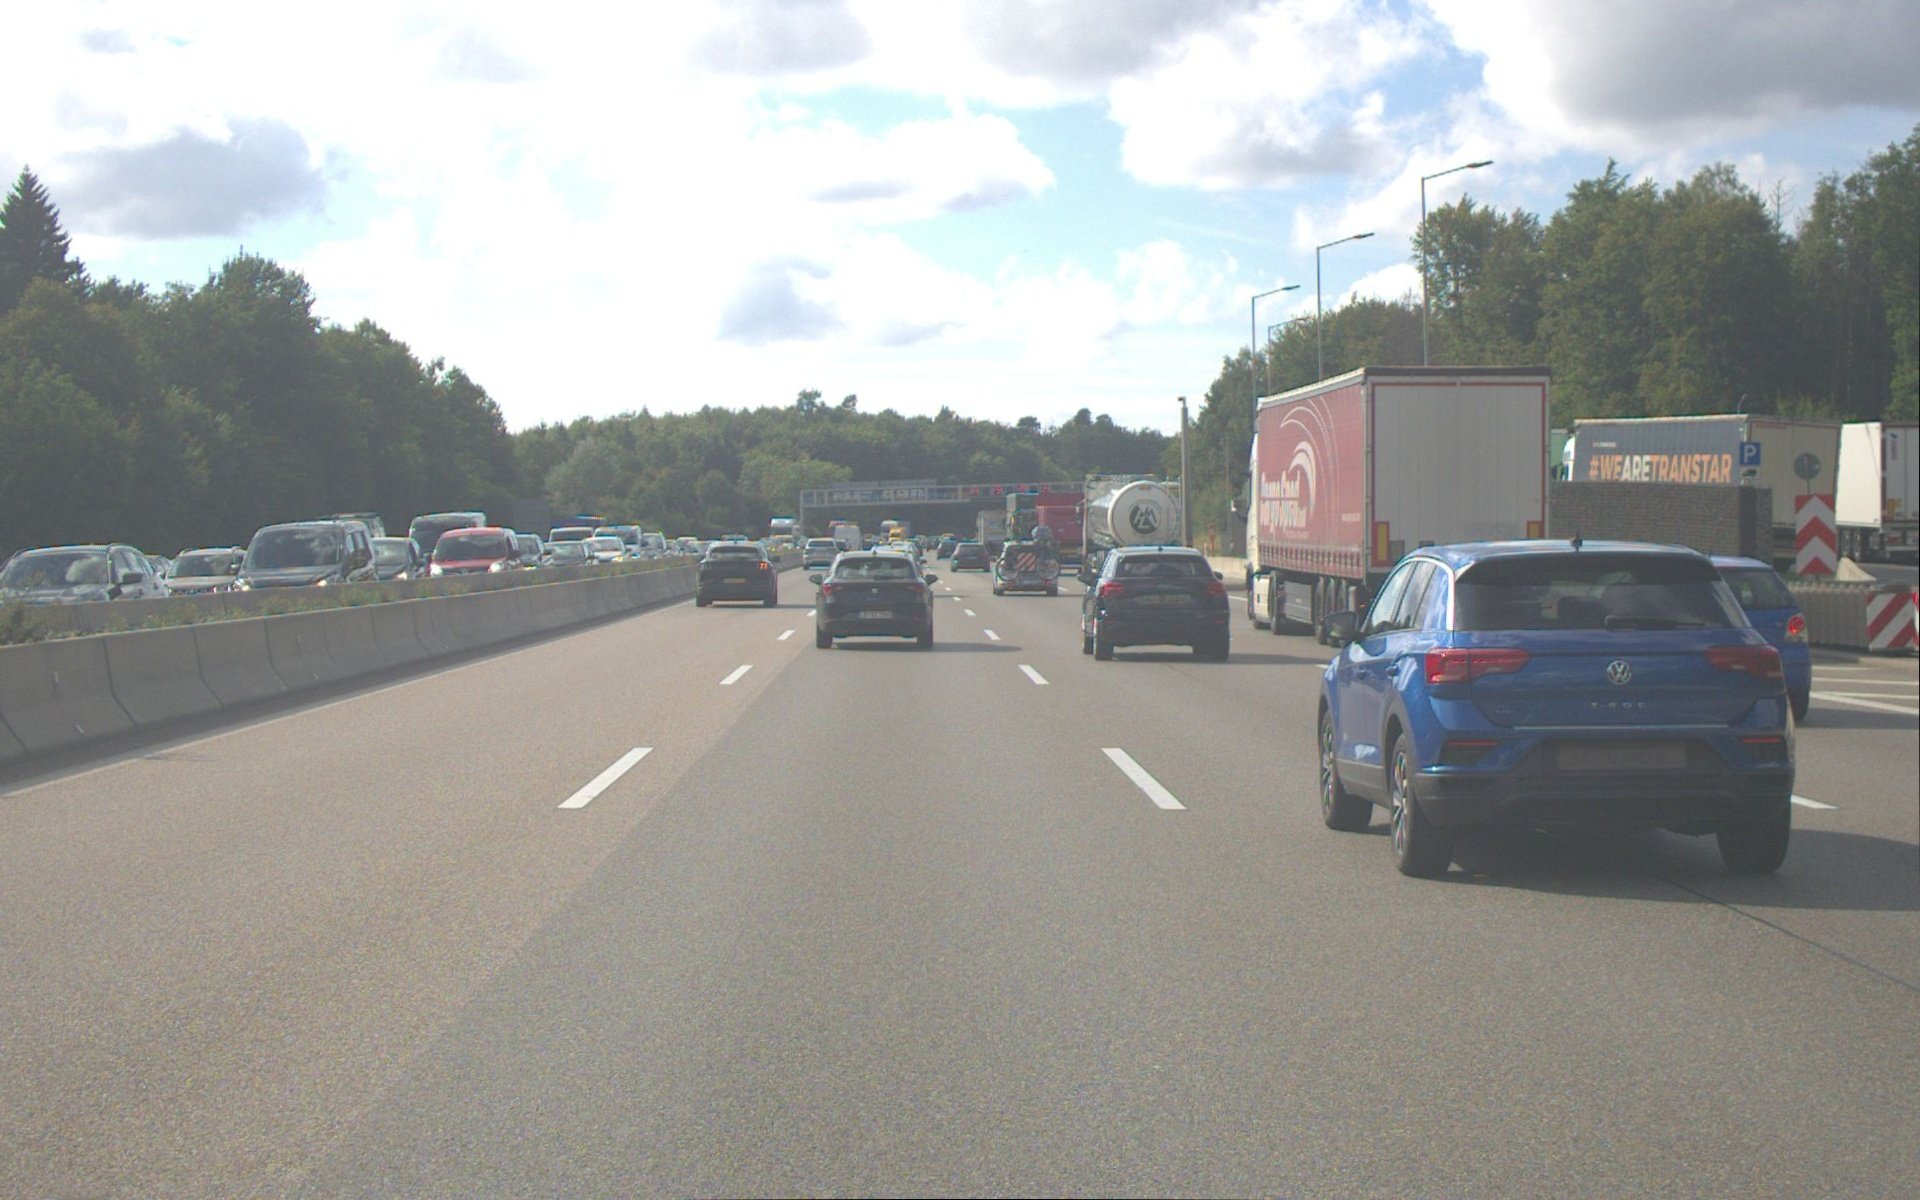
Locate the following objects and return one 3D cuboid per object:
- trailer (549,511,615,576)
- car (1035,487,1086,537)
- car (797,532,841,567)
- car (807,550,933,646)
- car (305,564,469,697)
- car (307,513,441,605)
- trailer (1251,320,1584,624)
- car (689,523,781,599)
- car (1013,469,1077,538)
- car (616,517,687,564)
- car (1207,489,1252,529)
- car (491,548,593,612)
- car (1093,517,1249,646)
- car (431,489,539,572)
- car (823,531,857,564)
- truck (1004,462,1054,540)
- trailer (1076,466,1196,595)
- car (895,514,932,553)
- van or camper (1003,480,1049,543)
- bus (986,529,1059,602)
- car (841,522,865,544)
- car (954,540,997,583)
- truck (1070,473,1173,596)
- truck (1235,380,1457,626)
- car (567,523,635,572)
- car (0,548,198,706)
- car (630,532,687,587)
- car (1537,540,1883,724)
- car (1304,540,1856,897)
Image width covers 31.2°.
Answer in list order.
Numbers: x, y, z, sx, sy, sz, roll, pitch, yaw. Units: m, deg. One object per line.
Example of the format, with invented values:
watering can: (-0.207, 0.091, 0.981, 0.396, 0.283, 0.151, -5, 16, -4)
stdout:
trailer: (-16.680, -2.489, 152.101, 2.278, 2.776, 8.542, 0, 1, -2)
car: (4.366, -3.803, 149.470, 1.993, 2.007, 4.000, 0, -1, -1)
car: (-7.452, -2.673, 181.692, 2.154, 1.770, 4.000, 1, 0, -1)
car: (-1.394, -0.028, 51.705, 1.734, 1.360, 4.000, 1, 0, -4)
car: (-8.986, 0.484, 54.230, 1.816, 2.007, 4.452, 0, -1, 0)
car: (-11.559, -0.789, 68.082, 1.858, 1.756, 4.459, 0, 0, 0)
trailer: (6.761, -1.680, 53.355, 3.038, 4.021, 13.890, 0, -1, -1)
car: (-5.468, -0.960, 83.865, 1.993, 1.770, 4.000, -1, 1, -1)
car: (3.927, -4.463, 160.179, 2.866, 2.981, 5.149, 0, -1, 0)
car: (-11.032, -2.140, 123.250, 1.993, 1.567, 5.329, 2, 1, 0)
car: (14.411, -4.863, 183.886, 1.993, 2.007, 4.000, -1, 1, -1)
car: (-10.887, -0.554, 89.887, 1.993, 1.567, 5.207, 1, 1, 0)
car: (2.810, -0.242, 46.462, 1.799, 1.639, 4.000, 1, 0, -1)
car: (-10.448, -1.523, 75.929, 1.875, 1.756, 5.295, 0, 1, -2)
car: (-7.348, -3.198, 210.011, 1.993, 2.007, 4.001, 0, 1, -3)
truck: (3.506, -5.036, 177.223, 2.358, 3.560, 11.266, 0, -1, 0)
trailer: (5.717, -2.192, 113.865, 3.036, 4.002, 12.246, 0, 0, -1)
car: (-2.571, -3.699, 191.303, 1.993, 2.007, 4.000, -1, -1, -1)
van or camper: (3.517, -4.729, 184.410, 2.351, 3.133, 5.710, 0, -1, 0)
bus: (1.782, -0.988, 99.272, 1.993, 2.007, 4.000, 0, -1, -1)
car: (-7.765, -4.856, 249.431, 1.623, 1.465, 3.815, 1, 0, 0)
car: (0.766, -1.875, 168.742, 1.993, 2.007, 4.000, 1, 0, -1)
truck: (5.585, -2.233, 119.976, 3.045, 4.146, 7.127, 0, 0, -2)
truck: (6.654, -1.590, 60.118, 3.080, 4.050, 6.070, 0, -1, -1)
car: (-11.983, -1.769, 114.920, 1.765, 1.567, 4.357, 1, 1, 0)
car: (-10.503, 0.320, 40.588, 1.993, 1.753, 4.458, 0, -1, 0)
car: (-11.655, -1.550, 133.122, 1.993, 2.007, 4.677, 0, -1, -2)
car: (6.614, 0.260, 30.781, 1.714, 1.506, 4.303, -1, 0, -6)
car: (2.913, 0.472, 17.192, 1.924, 1.536, 4.645, 0, 1, 0)
